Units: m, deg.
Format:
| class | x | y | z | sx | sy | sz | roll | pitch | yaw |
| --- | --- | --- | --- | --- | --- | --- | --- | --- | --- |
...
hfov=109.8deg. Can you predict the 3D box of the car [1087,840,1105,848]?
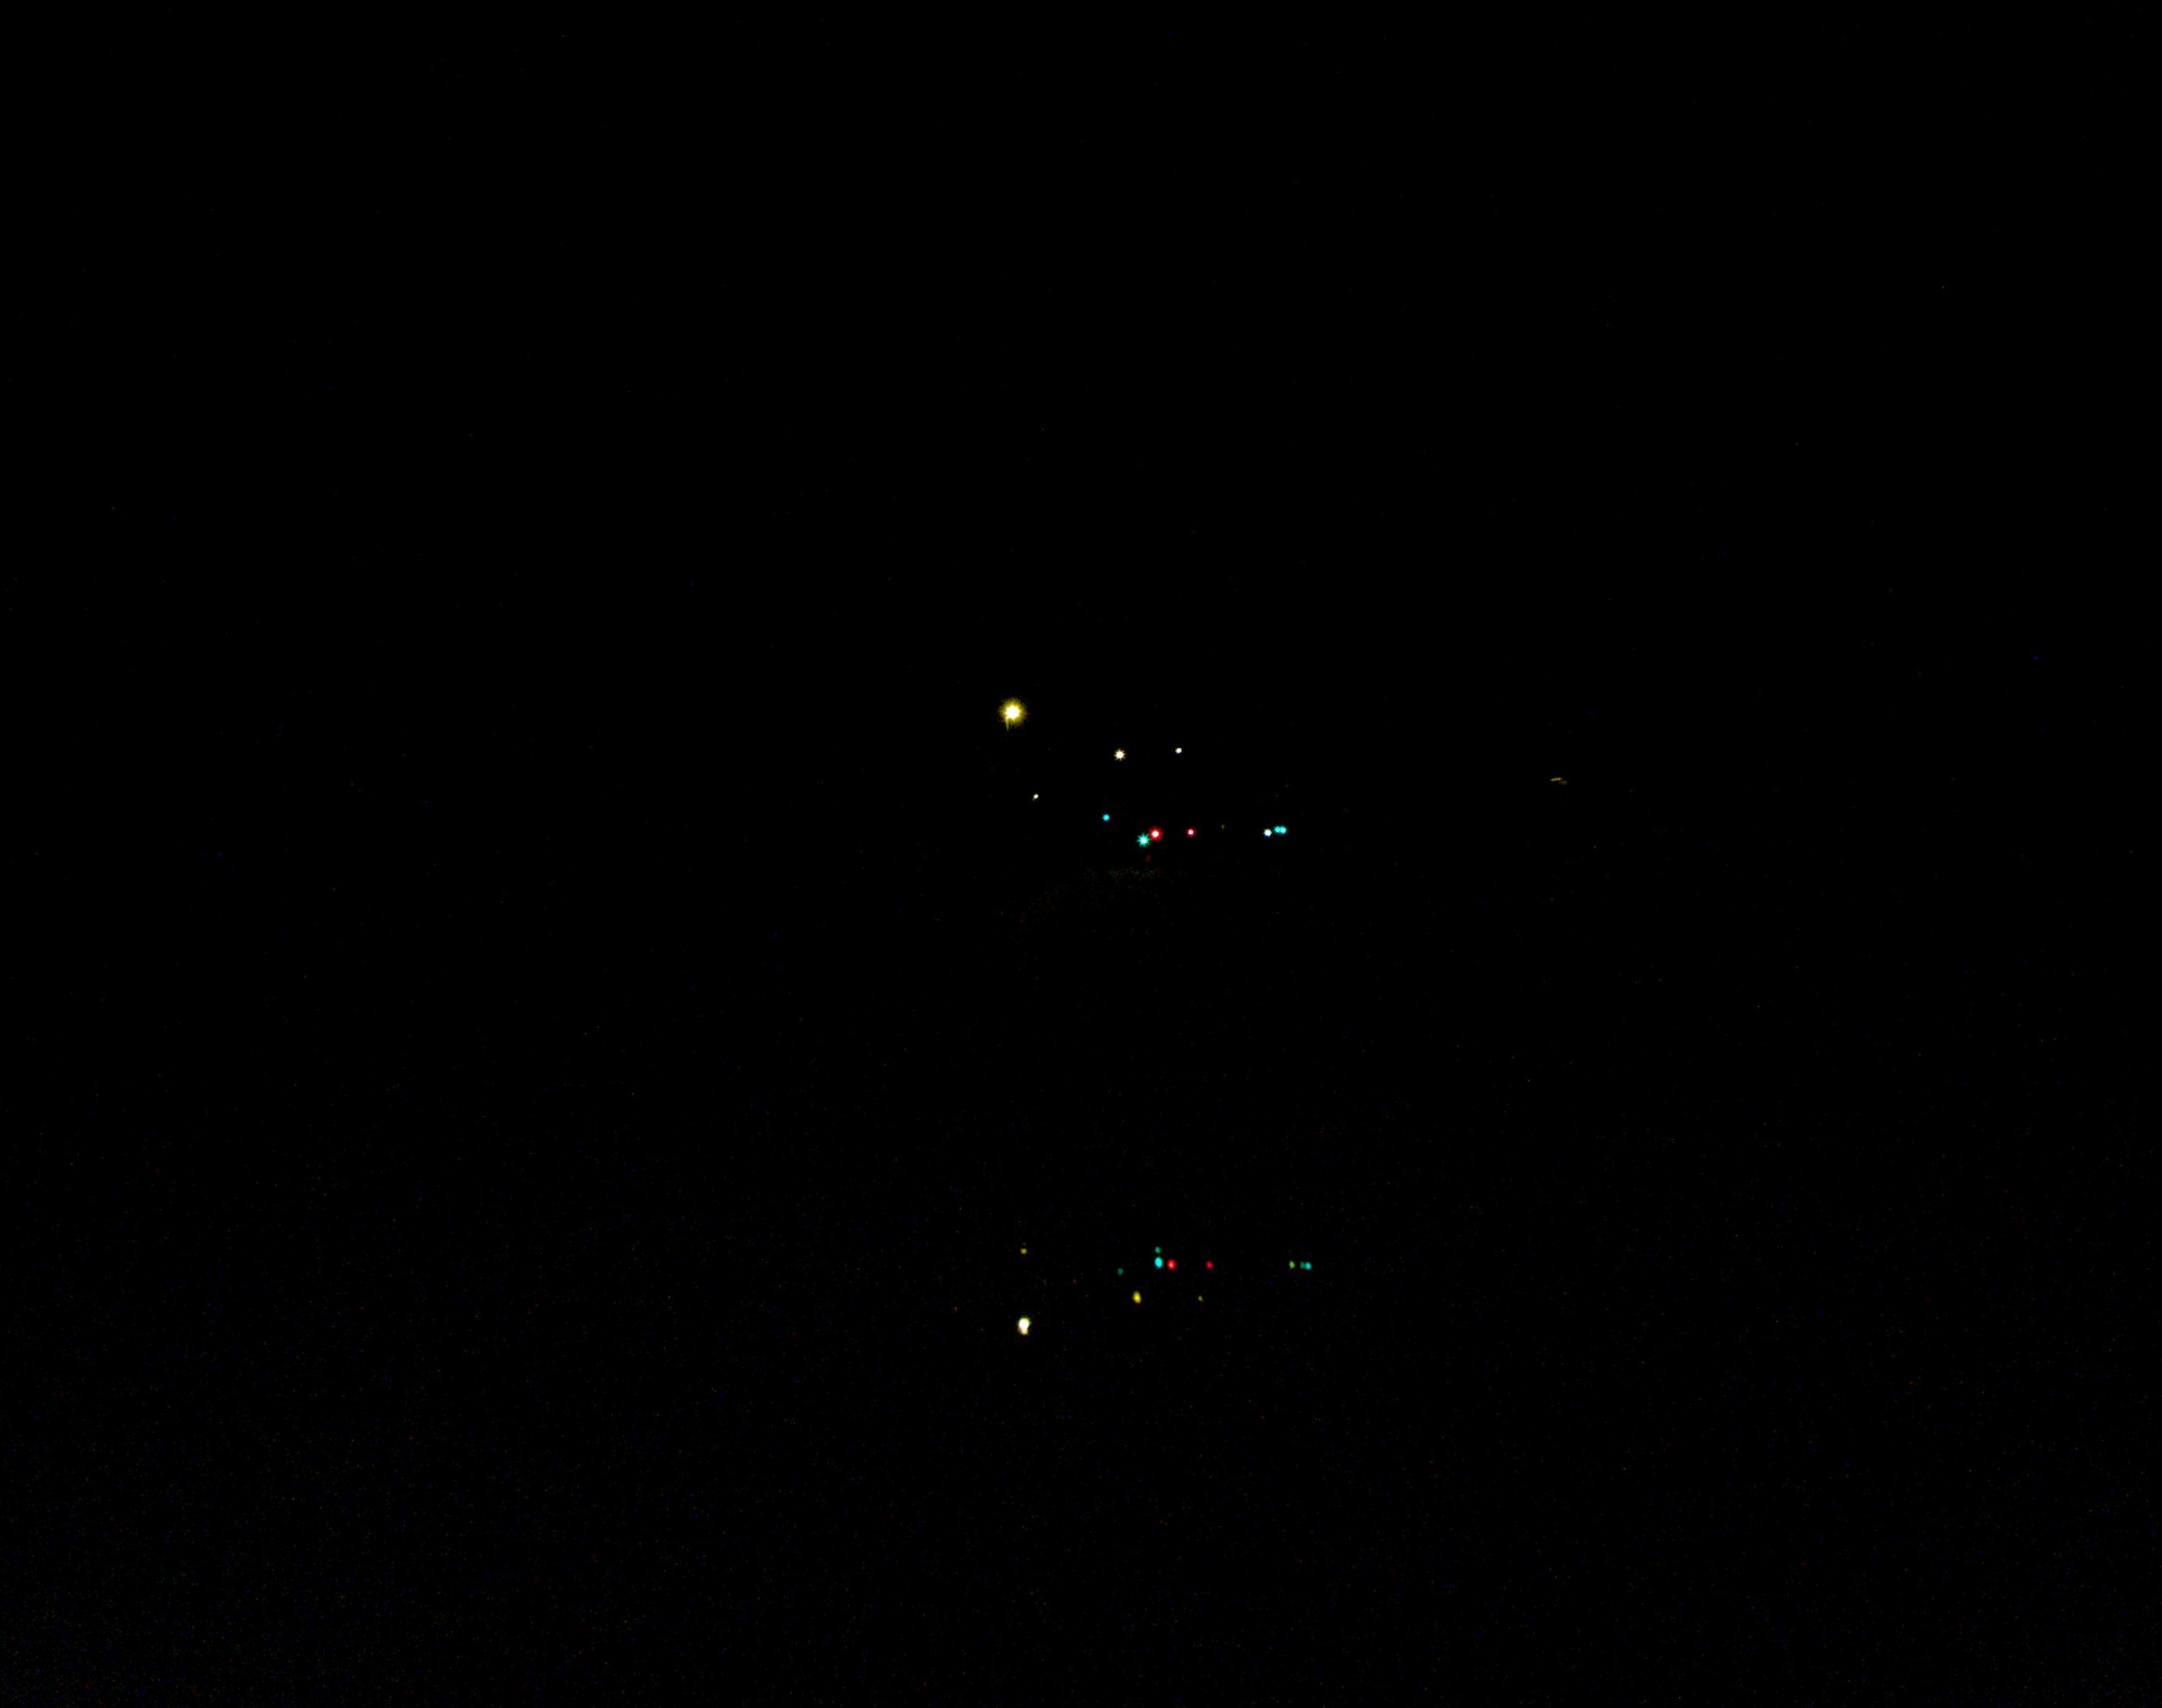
| class | x | y | z | sx | sy | sz | roll | pitch | yaw |
| --- | --- | --- | --- | --- | --- | --- | --- | --- | --- |
| car | 3.640 | -2.449 | 185.297 | 4.004 | 1.600 | 1.753 | -7 | 4 | -30 |
